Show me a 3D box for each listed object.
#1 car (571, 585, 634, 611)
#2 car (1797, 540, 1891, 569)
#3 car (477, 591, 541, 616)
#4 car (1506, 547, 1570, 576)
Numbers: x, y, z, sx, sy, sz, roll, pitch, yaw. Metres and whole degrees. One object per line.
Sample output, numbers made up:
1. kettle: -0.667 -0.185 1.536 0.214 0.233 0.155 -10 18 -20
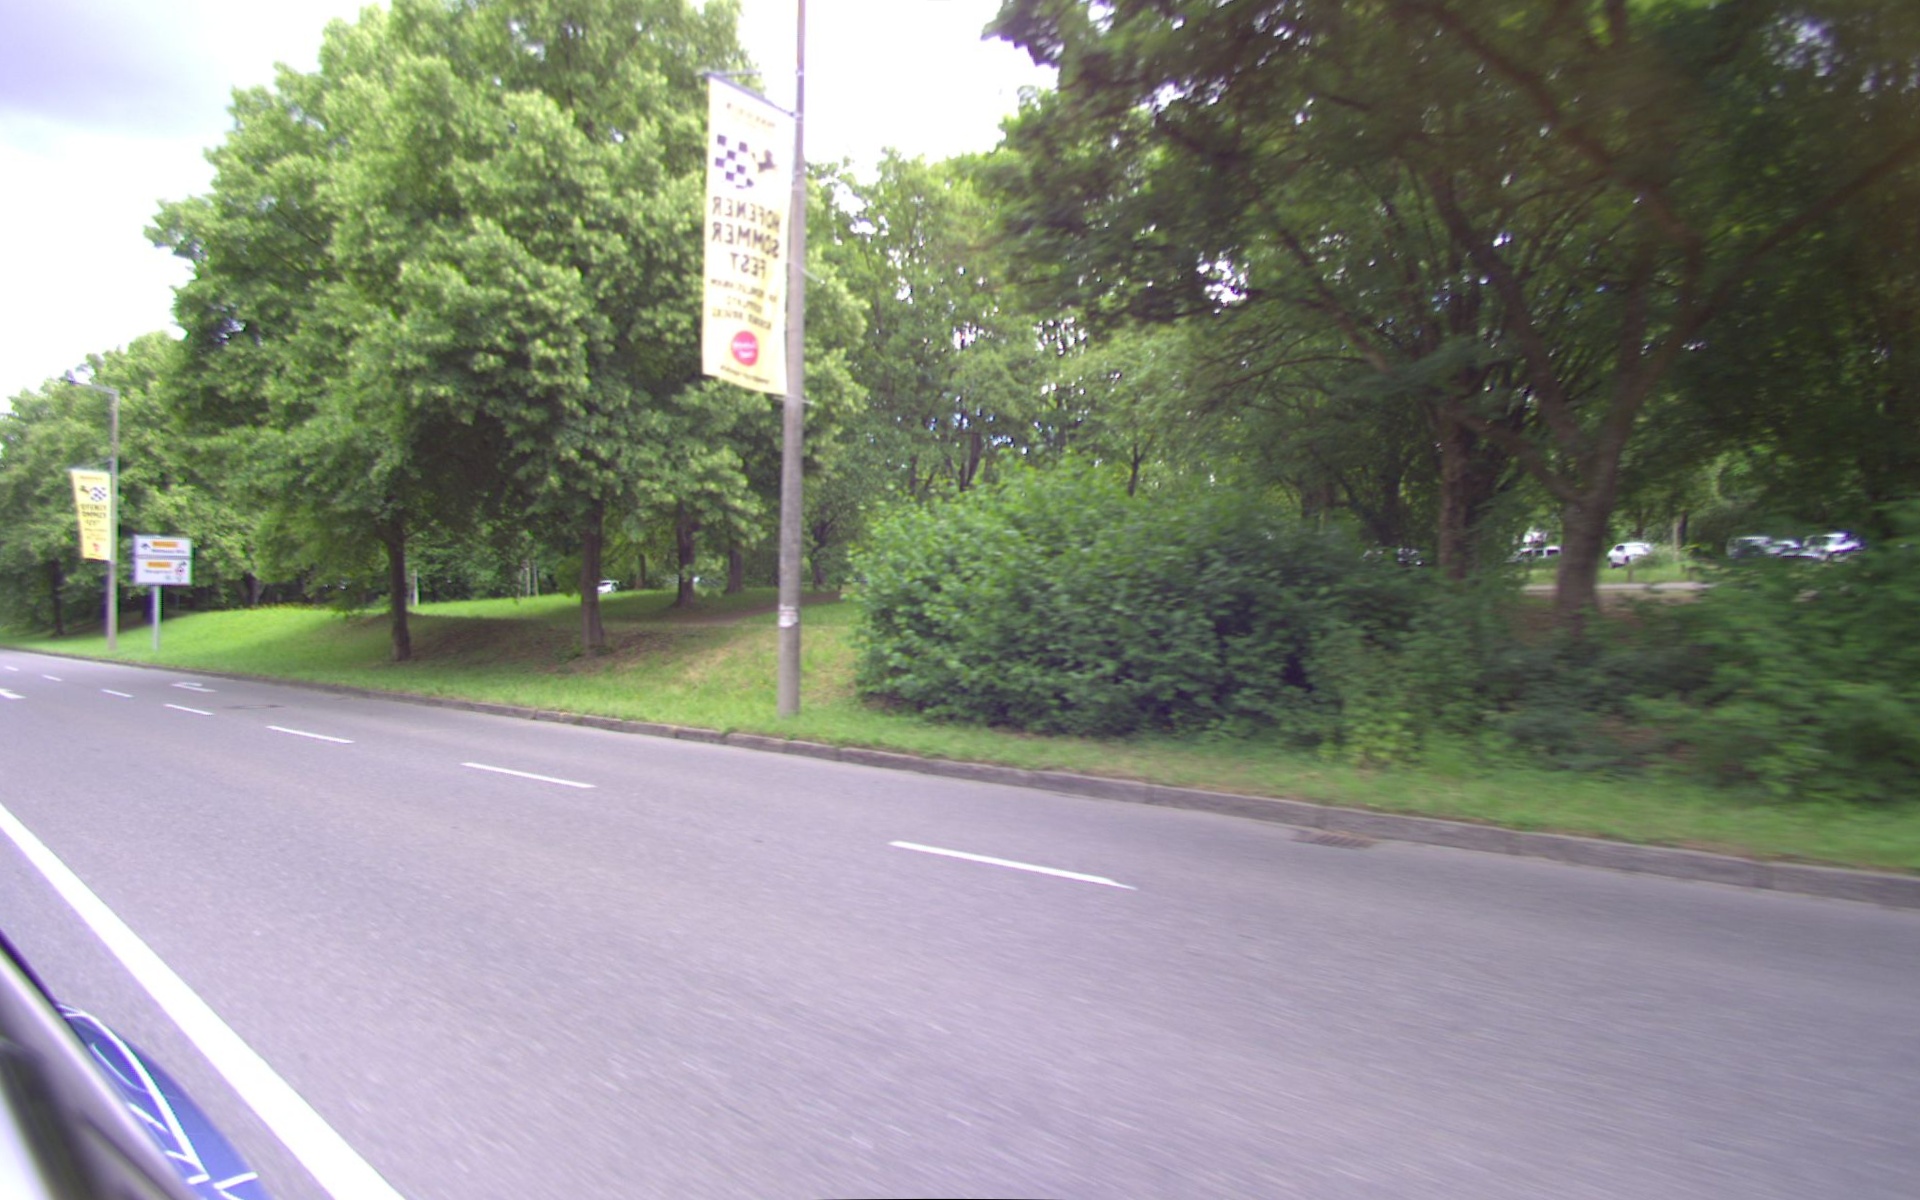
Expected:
1. car: -27.395 -0.165 77.669 2.298 1.910 4.883 -1 0 14
2. car: 43.044 -2.178 49.372 1.886 1.219 3.965 -1 0 16
3. car: -35.468 0.277 79.738 1.980 1.910 4.883 -1 0 14
4. car: 45.778 -3.047 80.222 3.950 2.075 1.893 -1 0 17
